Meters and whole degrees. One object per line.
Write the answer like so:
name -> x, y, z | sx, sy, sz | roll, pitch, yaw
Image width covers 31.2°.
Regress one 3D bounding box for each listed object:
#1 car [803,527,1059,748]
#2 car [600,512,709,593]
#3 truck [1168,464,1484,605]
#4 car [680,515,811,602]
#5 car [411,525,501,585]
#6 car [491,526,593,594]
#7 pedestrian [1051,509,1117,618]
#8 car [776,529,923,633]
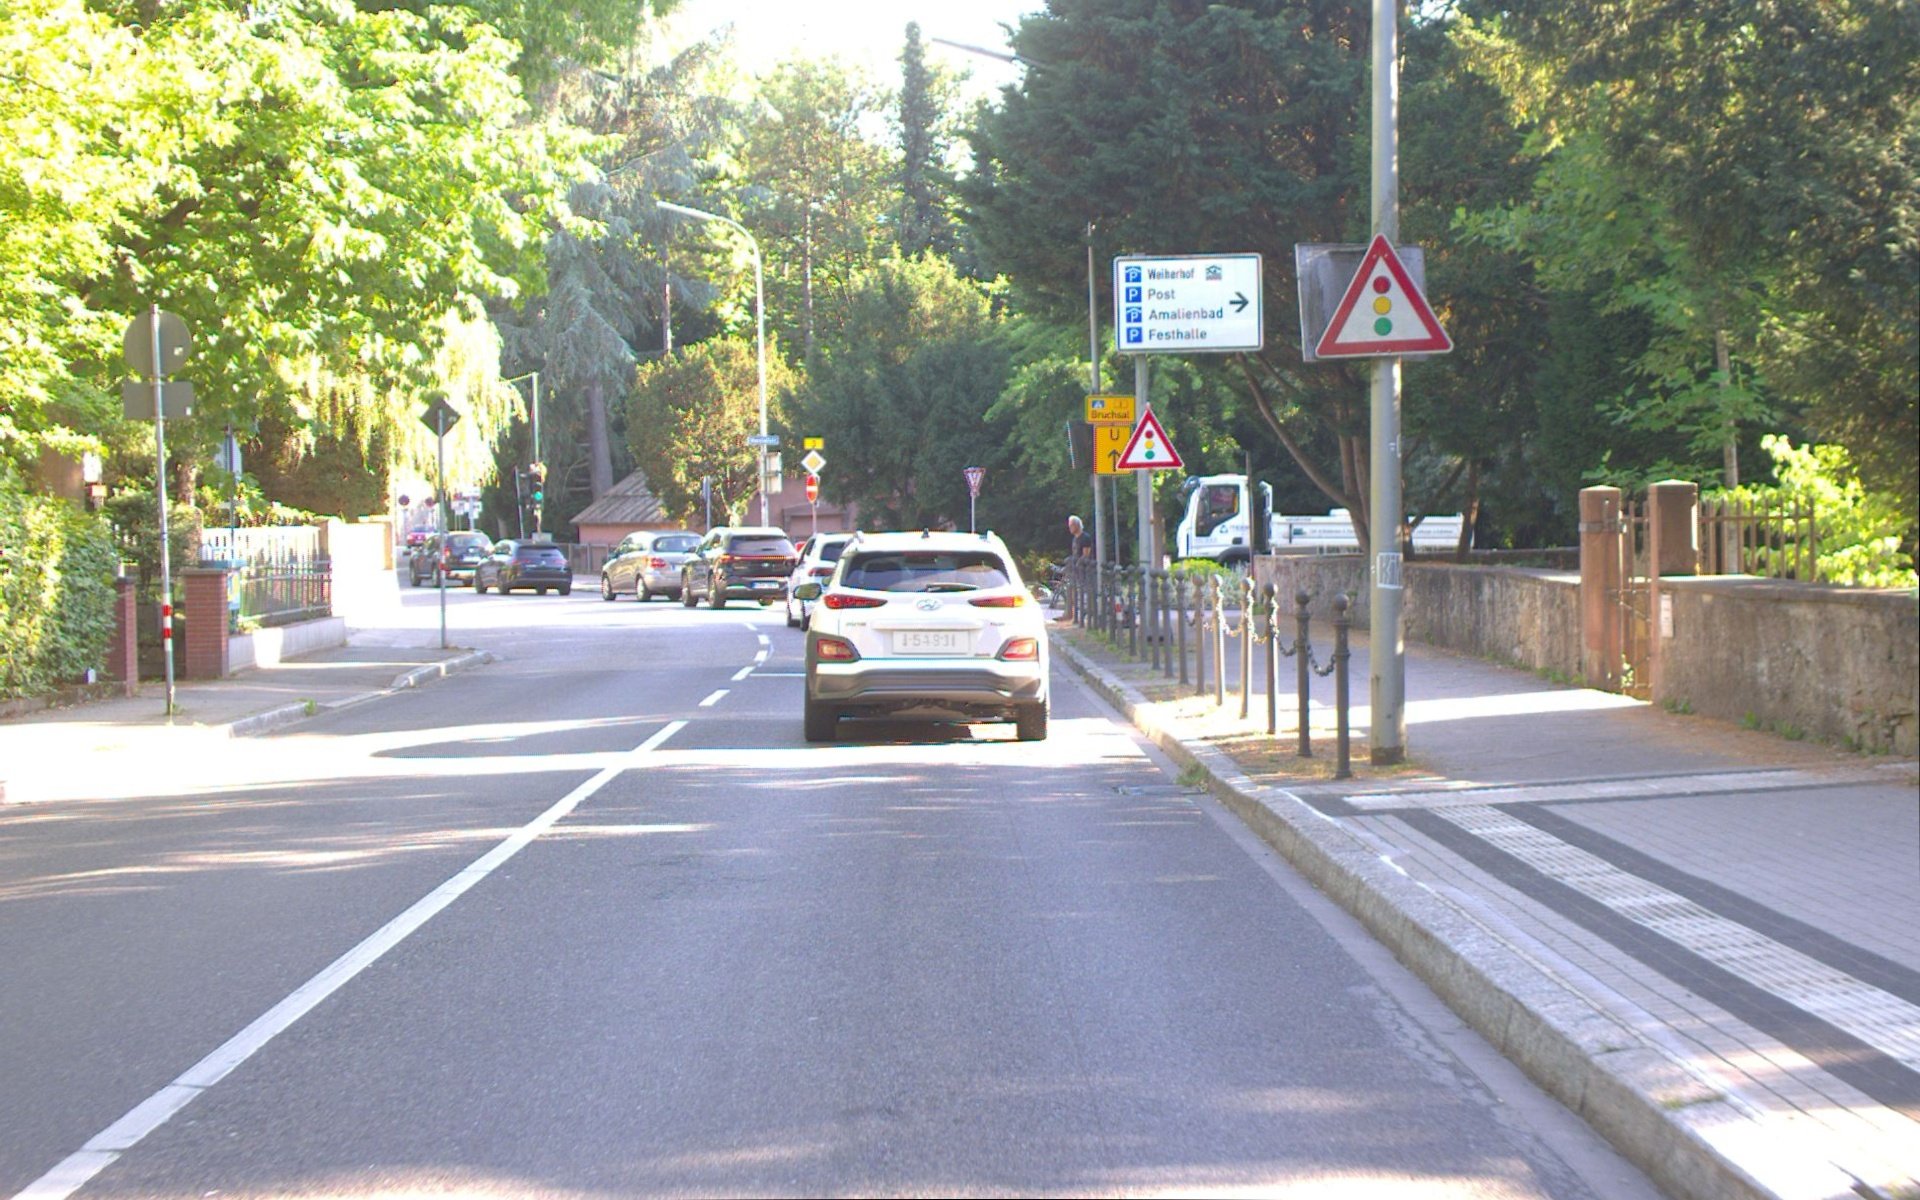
car -> -0.251, 0.232, 26.794 | 1.820, 1.568, 4.000 | 1, 1, -1
car -> -6.896, -1.086, 77.297 | 1.831, 1.735, 4.001 | 1, 1, -14
truck -> 7.799, -1.418, 73.819 | 6.588, 2.885, 2.433 | 1, 1, 4
car -> -4.296, -0.843, 68.374 | 1.831, 1.656, 4.001 | 1, 1, -15
car -> -14.672, -1.318, 99.966 | 1.831, 1.656, 4.001 | 1, 1, -19
car -> -10.790, -1.045, 88.550 | 1.831, 1.656, 4.001 | 0, 1, -18
pedestrian -> 2.111, -0.625, 58.636 | 0.940, 1.820, 0.554 | 0, 3, -39
car -> -1.779, -0.326, 54.246 | 1.805, 1.532, 4.001 | 1, 1, -9
